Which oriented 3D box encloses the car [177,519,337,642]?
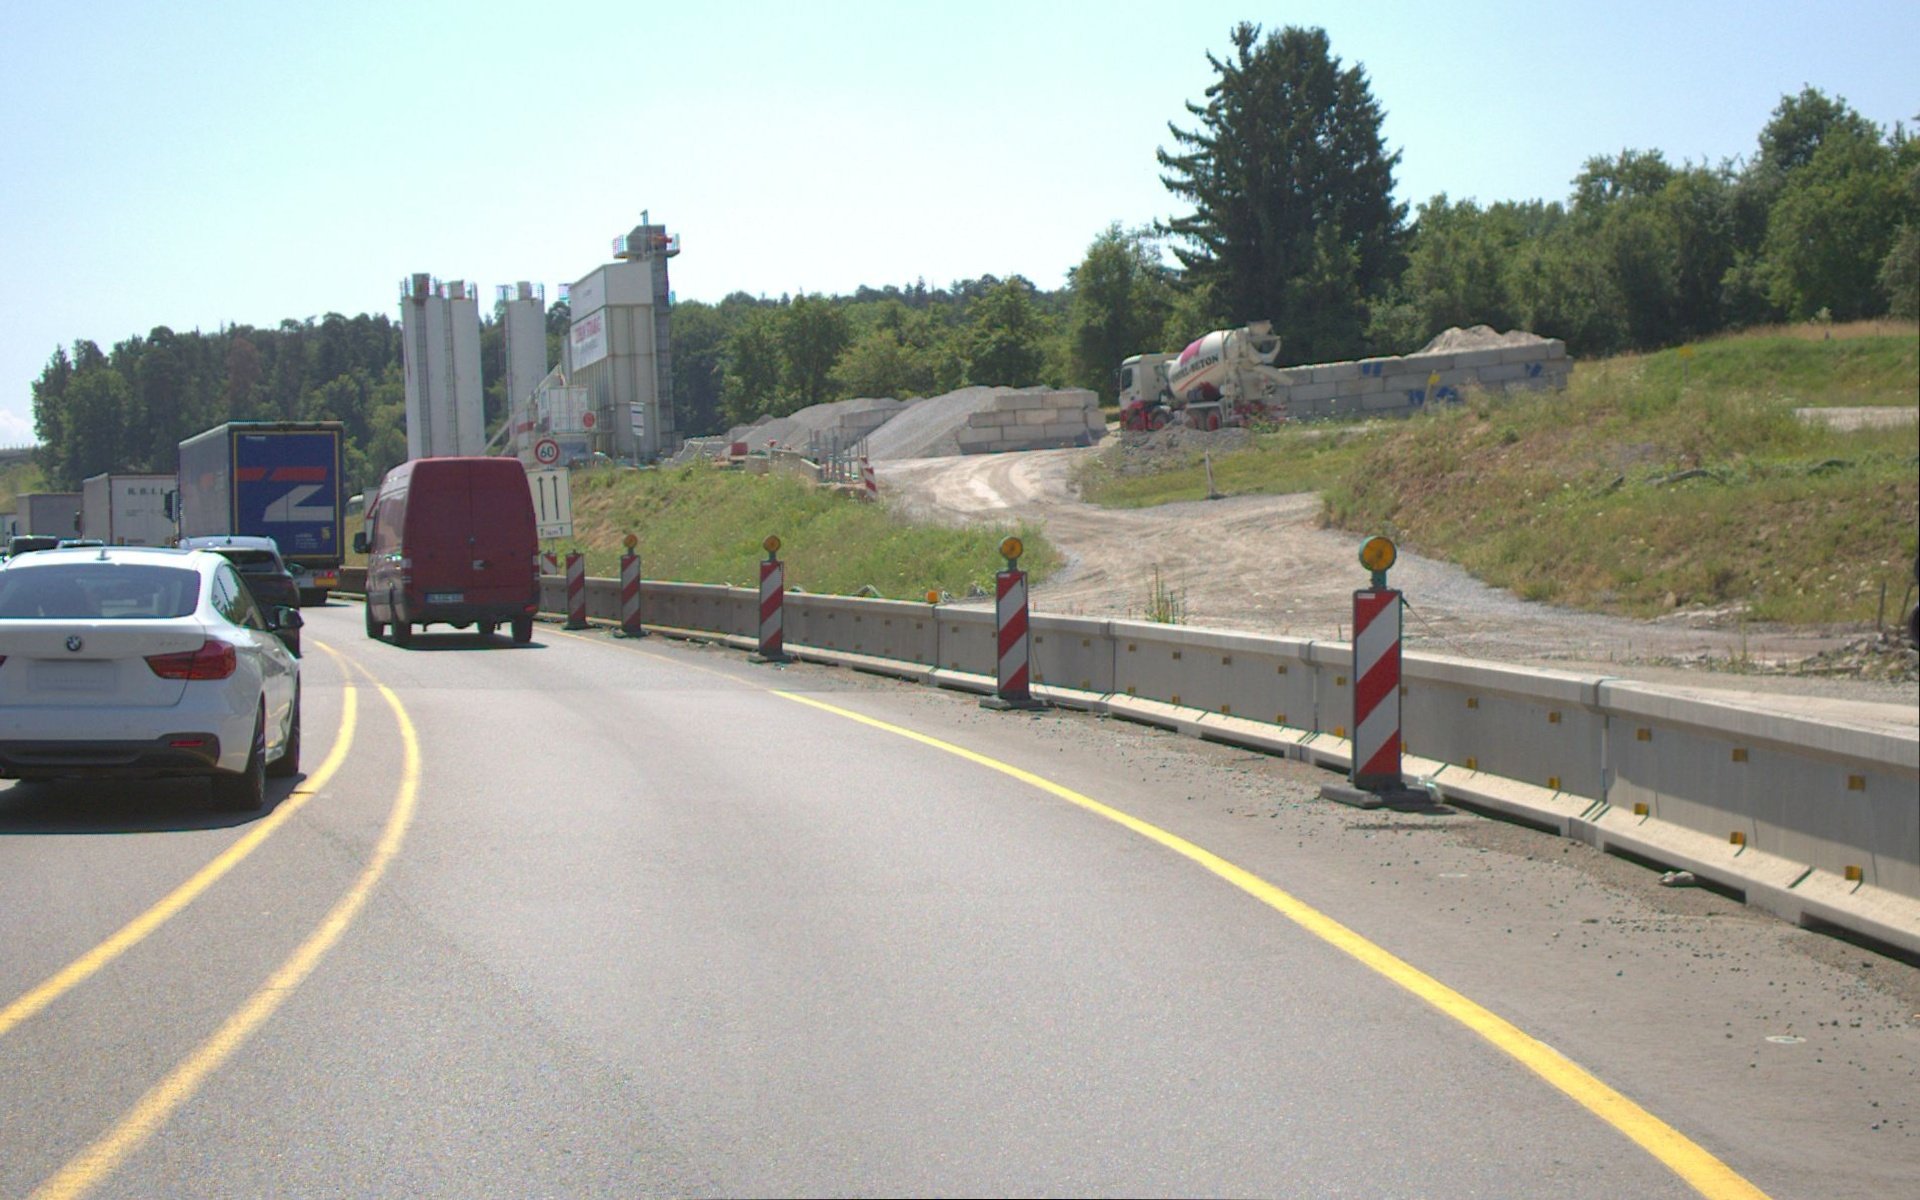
[{"bbox_3d":[-9.447,-0.305,46.432,1.794,1.529,3.932,-2,2,-8],"label":"car"}]

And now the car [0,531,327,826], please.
[{"bbox_3d":[-4.976,0.369,20.813,1.795,1.529,5.074,0,2,-5],"label":"car"}]

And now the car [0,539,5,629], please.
[{"bbox_3d":[-16.225,-0.199,54.466,1.668,1.470,3.971,-2,2,-10],"label":"car"}]

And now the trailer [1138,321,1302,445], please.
[{"bbox_3d":[9.285,-7.747,123.539,2.756,4.100,6.747,-2,2,-26],"label":"trailer"}]

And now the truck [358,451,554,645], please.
[{"bbox_3d":[-7.535,-0.788,50.827,2.111,2.624,6.486,-2,2,-14],"label":"truck"}]

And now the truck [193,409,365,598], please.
[{"bbox_3d":[-16.118,-2.240,80.935,3.015,4.138,8.275,-2,2,-17],"label":"truck"}]

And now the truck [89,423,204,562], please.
[{"bbox_3d":[-29.041,-3.811,123.050,3.682,4.675,9.755,-2,2,-13],"label":"truck"}]

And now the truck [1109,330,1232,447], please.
[{"bbox_3d":[7.738,-7.780,126.690,2.744,4.081,4.101,-2,2,-26],"label":"truck"}]

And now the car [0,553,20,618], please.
[{"bbox_3d":[-23.438,-0.336,81.879,1.795,1.470,4.779,-2,2,-17],"label":"car"}]

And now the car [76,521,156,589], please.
[{"bbox_3d":[-20.703,-1.123,84.287,1.801,1.574,4.001,-2,2,-14],"label":"car"}]
